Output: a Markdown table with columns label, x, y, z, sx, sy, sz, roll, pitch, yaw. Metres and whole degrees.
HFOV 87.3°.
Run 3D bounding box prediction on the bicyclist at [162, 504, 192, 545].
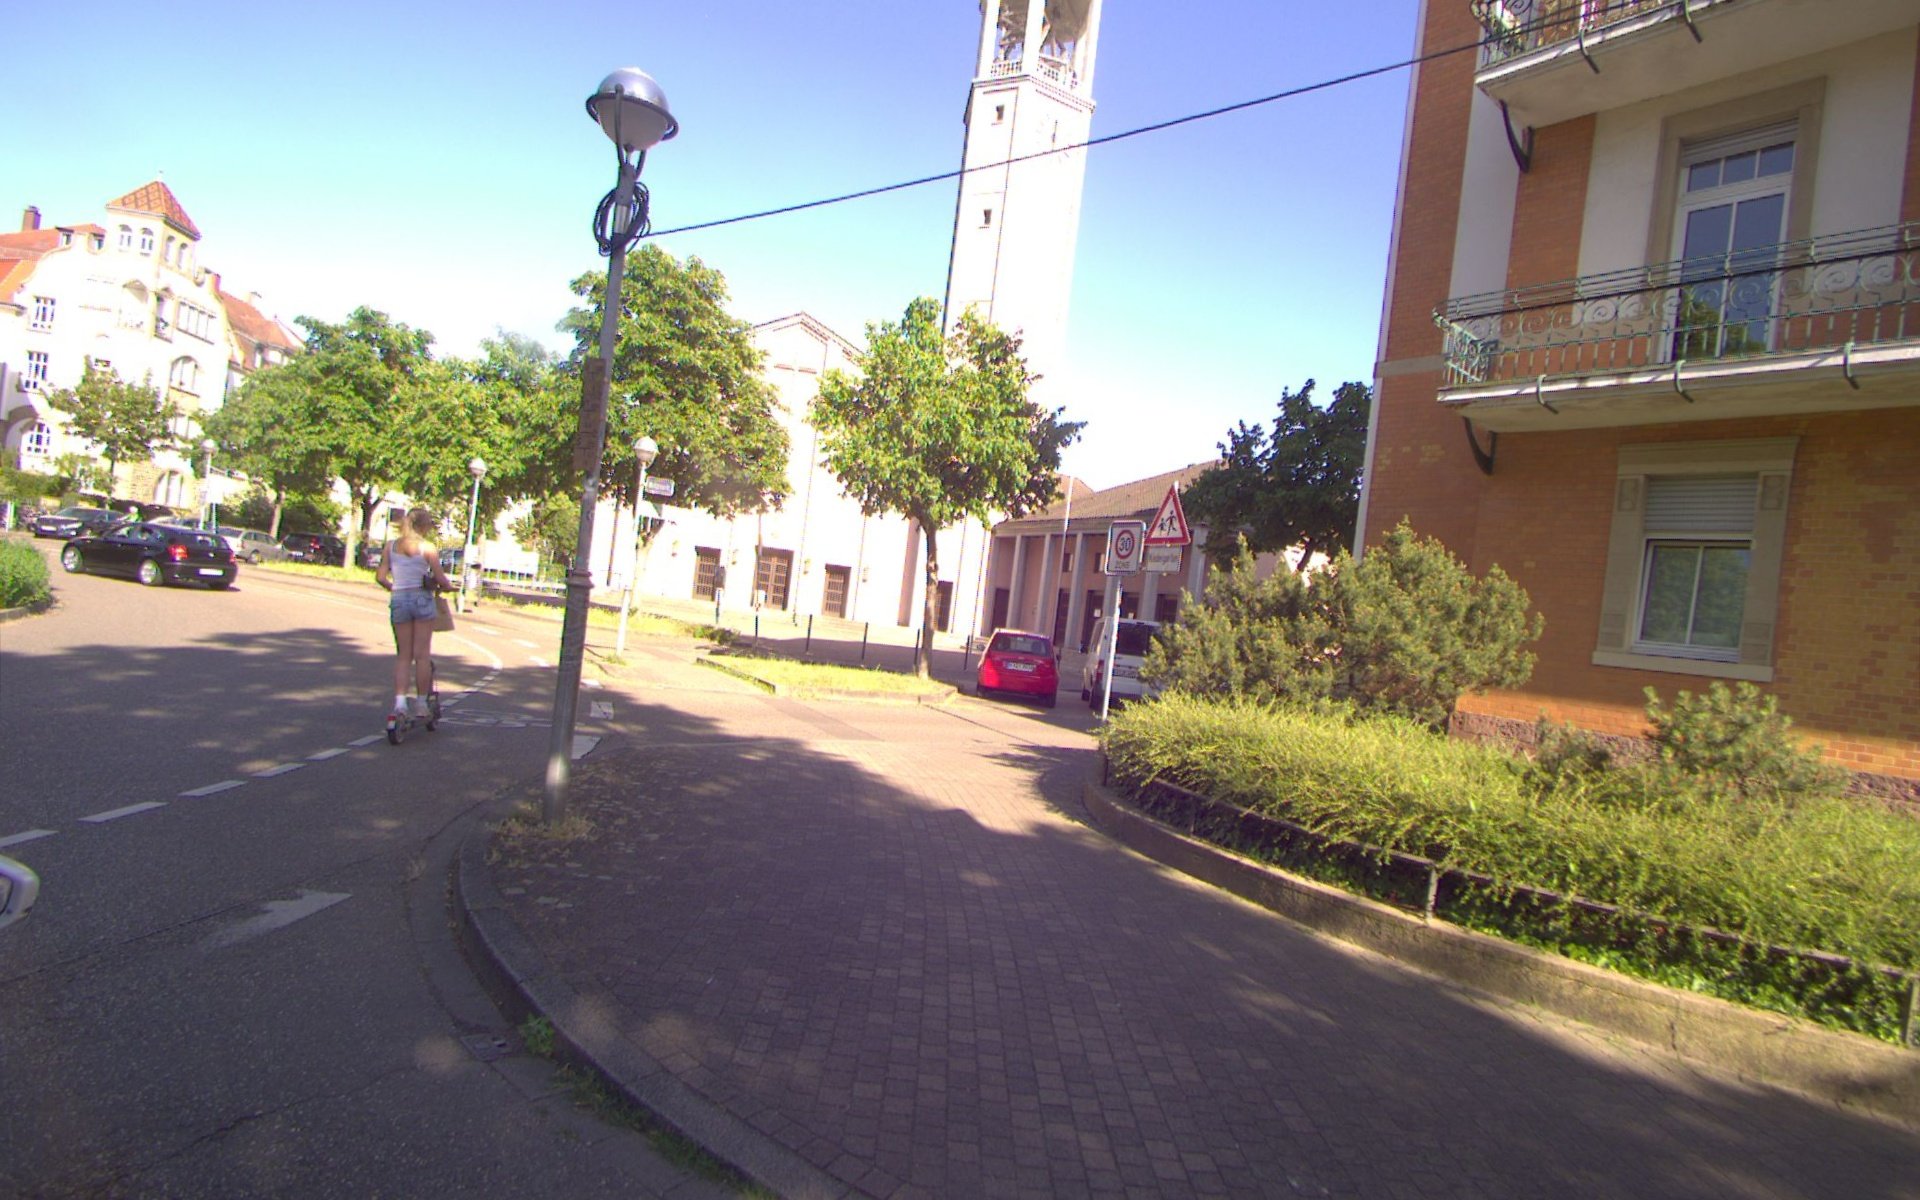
| label | x | y | z | sx | sy | sz | roll | pitch | yaw |
| --- | --- | --- | --- | --- | --- | --- | --- | --- | --- |
| bicyclist | -35.709 | -3.427 | 45.907 | 0.634 | 1.735 | 0.722 | 6 | -1 | -6 |

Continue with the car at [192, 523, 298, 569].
| label | x | y | z | sx | sy | sz | roll | pitch | yaw |
| --- | --- | --- | --- | --- | --- | --- | --- | --- | --- |
| car | -29.678 | -2.205 | 41.905 | 1.780 | 1.432 | 4.331 | 8 | -2 | -10 |

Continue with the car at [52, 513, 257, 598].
| label | x | y | z | sx | sy | sz | roll | pitch | yaw |
| --- | --- | --- | --- | --- | --- | --- | --- | --- | --- |
| car | -18.980 | -1.037 | 23.741 | 3.925 | 1.436 | 1.871 | 7 | 0 | 19 |

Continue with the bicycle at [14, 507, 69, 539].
| label | x | y | z | sx | sy | sz | roll | pitch | yaw |
| --- | --- | --- | --- | --- | --- | --- | --- | --- | --- |
| bicycle | -40.802 | -3.414 | 44.709 | 1.699 | 1.120 | 0.515 | 9 | 0 | -10 |

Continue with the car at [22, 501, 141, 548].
| label | x | y | z | sx | sy | sz | roll | pitch | yaw |
| --- | --- | --- | --- | --- | --- | --- | --- | --- | --- |
| car | -37.337 | -3.183 | 42.903 | 1.779 | 1.502 | 4.331 | 5 | -1 | -11 |

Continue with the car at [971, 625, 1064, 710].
| label | x | y | z | sx | sy | sz | roll | pitch | yaw |
| --- | --- | --- | --- | --- | --- | --- | --- | --- | --- |
| car | 1.167 | 1.356 | 21.326 | 1.638 | 1.452 | 3.698 | 7 | -1 | 2 |

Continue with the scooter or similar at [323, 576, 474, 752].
| label | x | y | z | sx | sy | sz | roll | pitch | yaw |
| --- | --- | --- | --- | --- | --- | --- | --- | --- | --- |
| scooter or similar | -4.617 | 0.503 | 8.351 | 0.622 | 1.298 | 1.104 | 7 | 0 | -10 |

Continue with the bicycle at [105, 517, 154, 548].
| label | x | y | z | sx | sy | sz | roll | pitch | yaw |
| --- | --- | --- | --- | --- | --- | --- | --- | --- | --- |
| bicycle | -35.343 | -2.864 | 42.851 | 0.585 | 1.121 | 1.862 | 6 | -1 | -5 |

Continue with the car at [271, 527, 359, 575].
| label | x | y | z | sx | sy | sz | roll | pitch | yaw |
| --- | --- | --- | --- | --- | --- | --- | --- | --- | --- |
| car | -30.014 | -2.251 | 46.953 | 1.780 | 1.748 | 4.331 | 8 | -1 | -10 |

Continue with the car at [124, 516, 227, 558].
| label | x | y | z | sx | sy | sz | roll | pitch | yaw |
| --- | --- | --- | --- | --- | --- | --- | --- | --- | --- |
| car | -37.852 | -2.991 | 48.686 | 1.777 | 1.581 | 4.395 | 5 | -1 | -6 |

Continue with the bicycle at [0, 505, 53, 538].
| label | x | y | z | sx | sy | sz | roll | pitch | yaw |
| --- | --- | --- | --- | --- | --- | --- | --- | --- | --- |
| bicycle | -40.679 | -3.414 | 43.763 | 1.699 | 1.120 | 0.500 | 9 | 0 | -10 |

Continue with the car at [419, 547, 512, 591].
| label | x | y | z | sx | sy | sz | roll | pitch | yaw |
| --- | --- | --- | --- | --- | --- | --- | --- | --- | --- |
| car | -30.950 | -1.903 | 63.133 | 4.702 | 2.024 | 1.807 | 8 | -1 | -11 |

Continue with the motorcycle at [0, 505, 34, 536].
| label | x | y | z | sx | sy | sz | roll | pitch | yaw |
| --- | --- | --- | --- | --- | --- | --- | --- | --- | --- |
| motorcycle | -40.407 | -3.405 | 42.542 | 1.700 | 1.120 | 0.499 | 9 | 0 | -13 |

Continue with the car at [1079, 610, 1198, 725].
| label | x | y | z | sx | sy | sz | roll | pitch | yaw |
| --- | --- | --- | --- | --- | --- | --- | --- | --- | --- |
| car | 3.878 | 1.432 | 22.647 | 1.956 | 2.069 | 4.709 | 7 | -1 | 5 |

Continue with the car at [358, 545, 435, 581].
| label | x | y | z | sx | sy | sz | roll | pitch | yaw |
| --- | --- | --- | --- | --- | --- | --- | --- | --- | --- |
| car | -30.705 | -1.990 | 54.988 | 1.777 | 1.491 | 4.338 | 8 | -2 | -3 |

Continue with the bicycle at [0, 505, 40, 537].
| label | x | y | z | sx | sy | sz | roll | pitch | yaw |
| --- | --- | --- | --- | --- | --- | --- | --- | --- | --- |
| bicycle | -40.641 | -3.426 | 43.085 | 1.700 | 1.120 | 0.499 | 9 | 0 | -13 |

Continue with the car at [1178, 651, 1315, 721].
| label | x | y | z | sx | sy | sz | roll | pitch | yaw |
| --- | --- | --- | --- | --- | --- | --- | --- | --- | --- |
| car | 8.296 | 2.496 | 29.104 | 3.574 | 1.441 | 1.600 | 8 | 4 | -30 |

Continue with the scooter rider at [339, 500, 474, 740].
| label | x | y | z | sx | sy | sz | roll | pitch | yaw |
| --- | --- | --- | --- | --- | --- | --- | --- | --- | --- |
| scooter rider | -4.571 | 0.166 | 8.353 | 0.615 | 1.854 | 0.630 | 7 | 0 | -10 |

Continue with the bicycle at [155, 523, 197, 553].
| label | x | y | z | sx | sy | sz | roll | pitch | yaw |
| --- | --- | --- | --- | --- | --- | --- | --- | --- | --- |
| bicycle | -35.772 | -2.820 | 45.923 | 0.634 | 1.121 | 1.716 | 6 | -1 | -6 |

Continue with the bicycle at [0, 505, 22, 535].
| label | x | y | z | sx | sy | sz | roll | pitch | yaw |
| --- | --- | --- | --- | --- | --- | --- | --- | --- | --- |
| bicycle | -40.354 | -3.436 | 41.832 | 1.806 | 1.120 | 0.498 | 10 | -1 | -22 |

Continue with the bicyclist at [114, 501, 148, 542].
| label | x | y | z | sx | sy | sz | roll | pitch | yaw |
| --- | --- | --- | --- | --- | --- | --- | --- | --- | --- |
| bicyclist | -35.293 | -3.343 | 42.839 | 0.584 | 1.600 | 0.805 | 6 | 0 | 5 |
